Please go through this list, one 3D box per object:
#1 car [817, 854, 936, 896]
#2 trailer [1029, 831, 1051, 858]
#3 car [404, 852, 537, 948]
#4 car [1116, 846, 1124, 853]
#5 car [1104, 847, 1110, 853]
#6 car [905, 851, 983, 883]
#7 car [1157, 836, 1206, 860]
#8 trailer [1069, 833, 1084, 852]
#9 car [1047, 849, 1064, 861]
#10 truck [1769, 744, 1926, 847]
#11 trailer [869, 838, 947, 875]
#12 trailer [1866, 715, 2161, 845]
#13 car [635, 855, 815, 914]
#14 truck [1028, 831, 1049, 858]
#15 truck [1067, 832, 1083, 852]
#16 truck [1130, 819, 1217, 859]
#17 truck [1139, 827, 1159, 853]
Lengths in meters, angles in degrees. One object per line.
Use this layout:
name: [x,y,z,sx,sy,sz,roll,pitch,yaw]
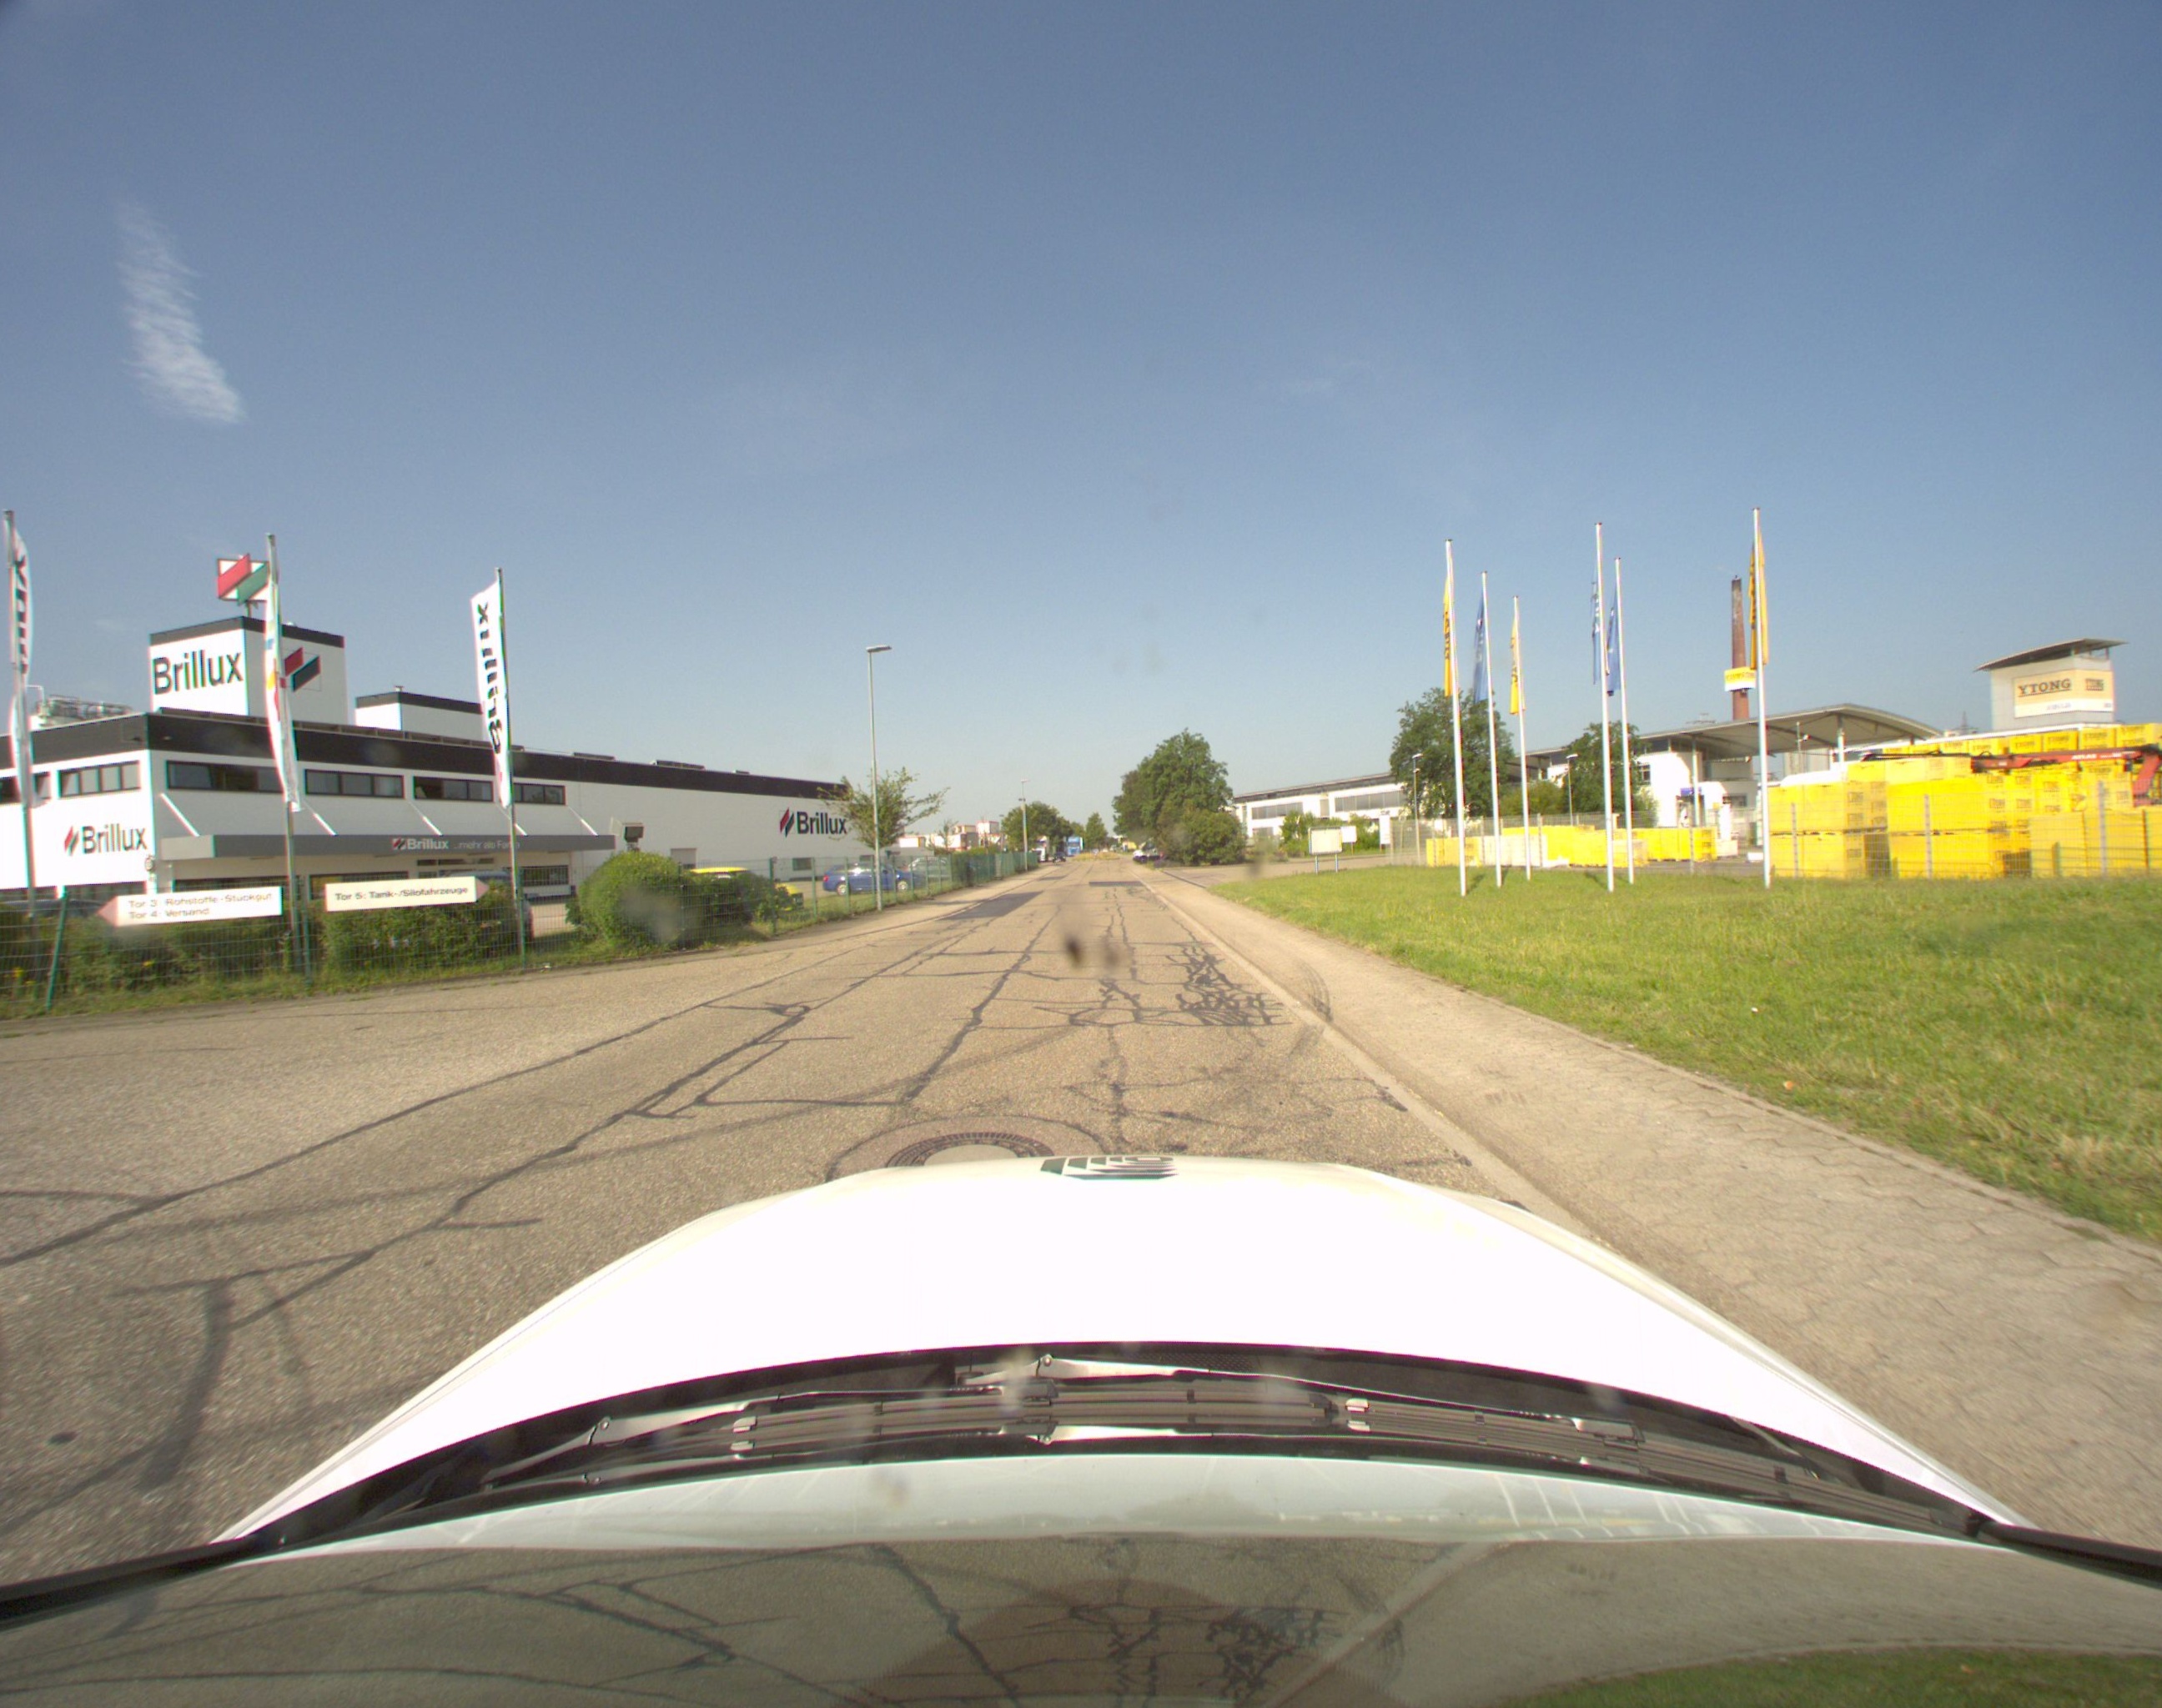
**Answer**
car: [-9.113,0.921,36.616,4.670,1.444,2.078,-4,0,0]
trailer: [-6.199,-1.374,124.348,2.690,3.922,7.576,-1,0,1]
car: [-12.463,0.848,16.853,1.965,1.696,4.463,0,-1,-34]
car: [9.795,-1.060,204.626,1.786,1.750,4.000,-1,0,1]
car: [7.981,-1.163,246.339,1.713,1.660,3.823,-1,0,0]
car: [-8.066,0.745,48.191,4.113,1.567,1.865,-4,0,0]
car: [8.530,-0.497,69.344,3.971,1.837,2.001,-3,0,2]
trailer: [-0.939,-2.336,174.156,2.821,3.843,12.039,-1,0,1]
car: [-3.528,0.161,113.519,1.987,1.449,4.419,-5,0,0]
truck: [31.452,-2.273,33.580,2.546,3.876,3.972,0,-1,-21]
trailer: [-20.315,0.305,96.940,2.462,4.041,13.951,-1,0,17]
trailer: [33.241,-2.326,28.678,2.486,3.876,7.747,0,-1,-20]
car: [-9.947,0.831,22.973,4.148,1.368,1.869,-3,0,2]
truck: [-6.275,-1.395,119.949,2.699,3.922,4.297,-1,-1,1]
truck: [-1.189,-2.400,164.162,2.815,3.825,9.675,-1,0,1]
truck: [9.017,-1.430,79.979,8.181,3.370,2.741,-3,-1,0]
truck: [11.065,-2.322,133.240,2.736,3.981,4.002,-5,0,2]
